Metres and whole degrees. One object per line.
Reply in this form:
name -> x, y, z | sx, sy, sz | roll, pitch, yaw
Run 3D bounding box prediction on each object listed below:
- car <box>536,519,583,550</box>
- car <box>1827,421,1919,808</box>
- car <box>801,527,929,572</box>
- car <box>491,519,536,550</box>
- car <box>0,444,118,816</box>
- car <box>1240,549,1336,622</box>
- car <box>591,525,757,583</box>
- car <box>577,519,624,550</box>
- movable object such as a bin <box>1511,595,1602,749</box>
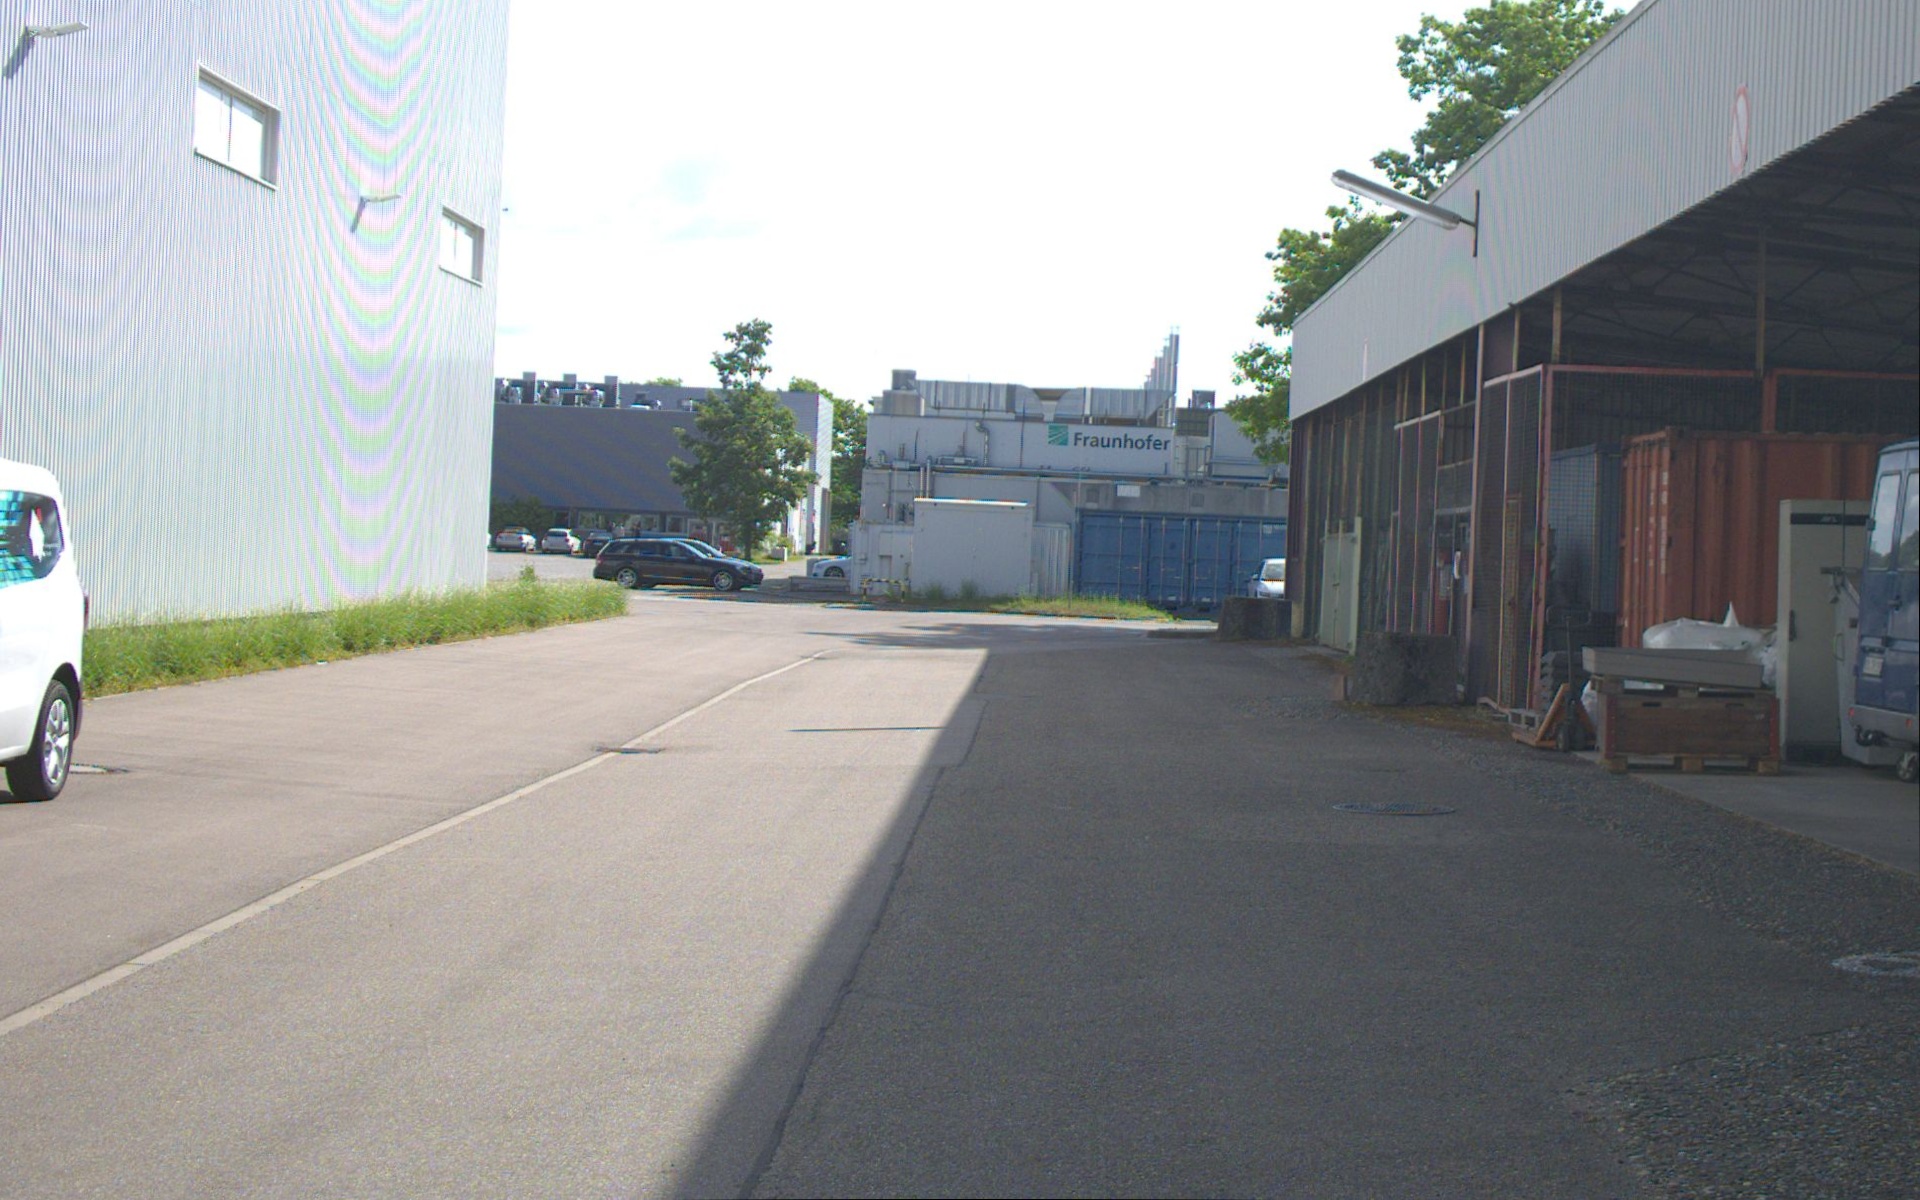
car -> -22.865, -3.722, 196.440 | 2.193, 1.730, 4.000 | 1, 1, 1
car -> 8.198, 0.155, 21.524 | 4.979, 2.317, 2.000 | 2, 1, 2
car -> -3.483, -1.856, 126.394 | 4.526, 1.503, 1.909 | 2, 1, 2
car -> -25.457, -3.721, 196.163 | 1.993, 1.730, 4.000 | 1, 1, 1
car -> -5.644, 0.090, 16.649 | 1.890, 1.839, 4.358 | 4, 1, 1
car -> 8.157, -0.386, 85.738 | 1.993, 1.580, 4.173 | 2, 2, 1
car -> -8.208, -1.322, 98.914 | 4.526, 1.503, 1.909 | 2, 1, 3
car -> -20.343, -3.703, 194.663 | 2.193, 1.730, 4.000 | 1, 1, 1
movable object such as a bin -> 4.730, 0.558, 27.303 | 0.582, 1.160, 1.238 | 2, 1, 5
